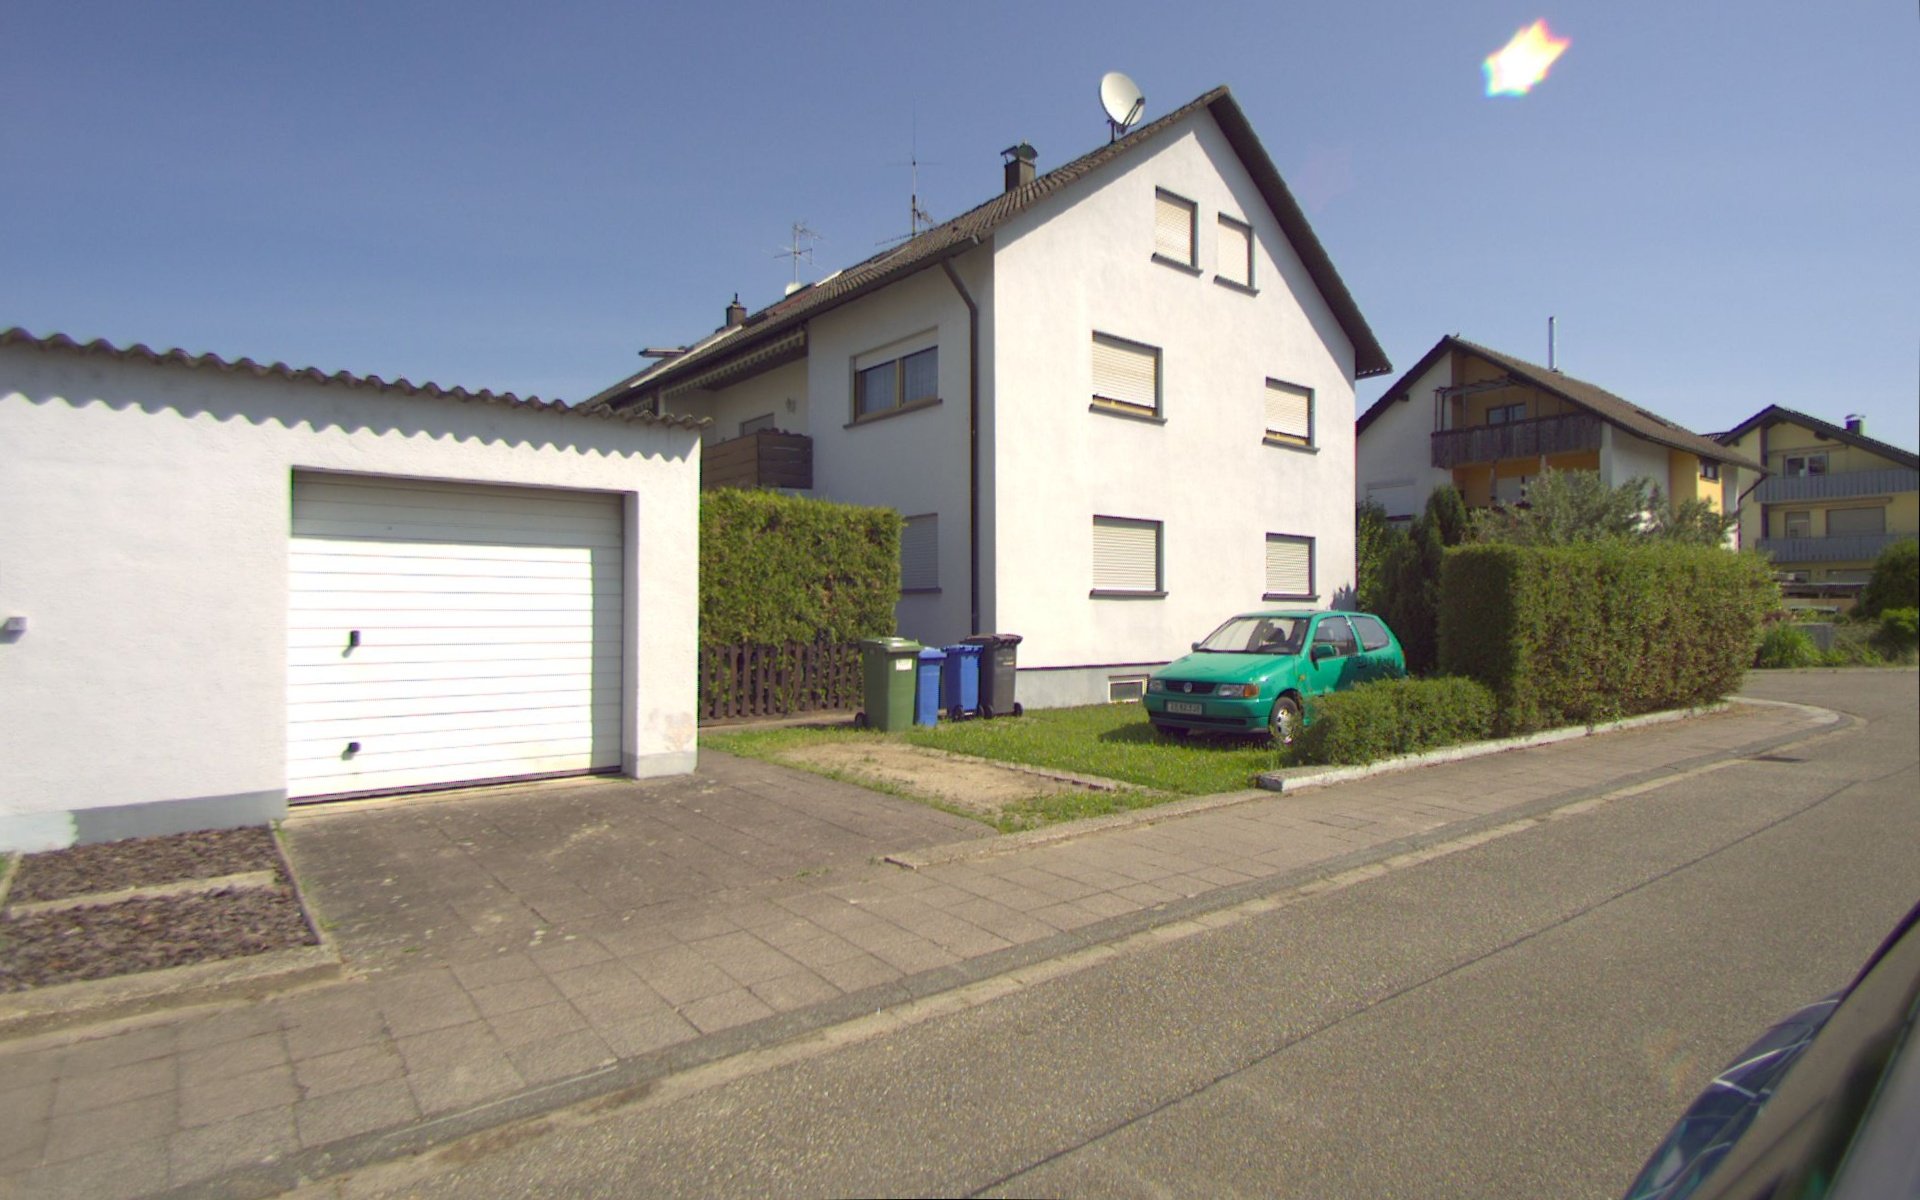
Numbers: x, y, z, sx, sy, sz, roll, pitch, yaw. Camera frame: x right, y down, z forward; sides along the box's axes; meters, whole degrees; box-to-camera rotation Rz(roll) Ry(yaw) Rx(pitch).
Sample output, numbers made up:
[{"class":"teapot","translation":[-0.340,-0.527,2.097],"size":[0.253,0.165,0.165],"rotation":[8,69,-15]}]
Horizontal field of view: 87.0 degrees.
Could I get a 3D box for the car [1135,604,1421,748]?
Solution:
[{"class":"car","translation":[3.675,0.736,11.433],"size":[3.465,1.376,1.496],"rotation":[0,-1,-41]}]
